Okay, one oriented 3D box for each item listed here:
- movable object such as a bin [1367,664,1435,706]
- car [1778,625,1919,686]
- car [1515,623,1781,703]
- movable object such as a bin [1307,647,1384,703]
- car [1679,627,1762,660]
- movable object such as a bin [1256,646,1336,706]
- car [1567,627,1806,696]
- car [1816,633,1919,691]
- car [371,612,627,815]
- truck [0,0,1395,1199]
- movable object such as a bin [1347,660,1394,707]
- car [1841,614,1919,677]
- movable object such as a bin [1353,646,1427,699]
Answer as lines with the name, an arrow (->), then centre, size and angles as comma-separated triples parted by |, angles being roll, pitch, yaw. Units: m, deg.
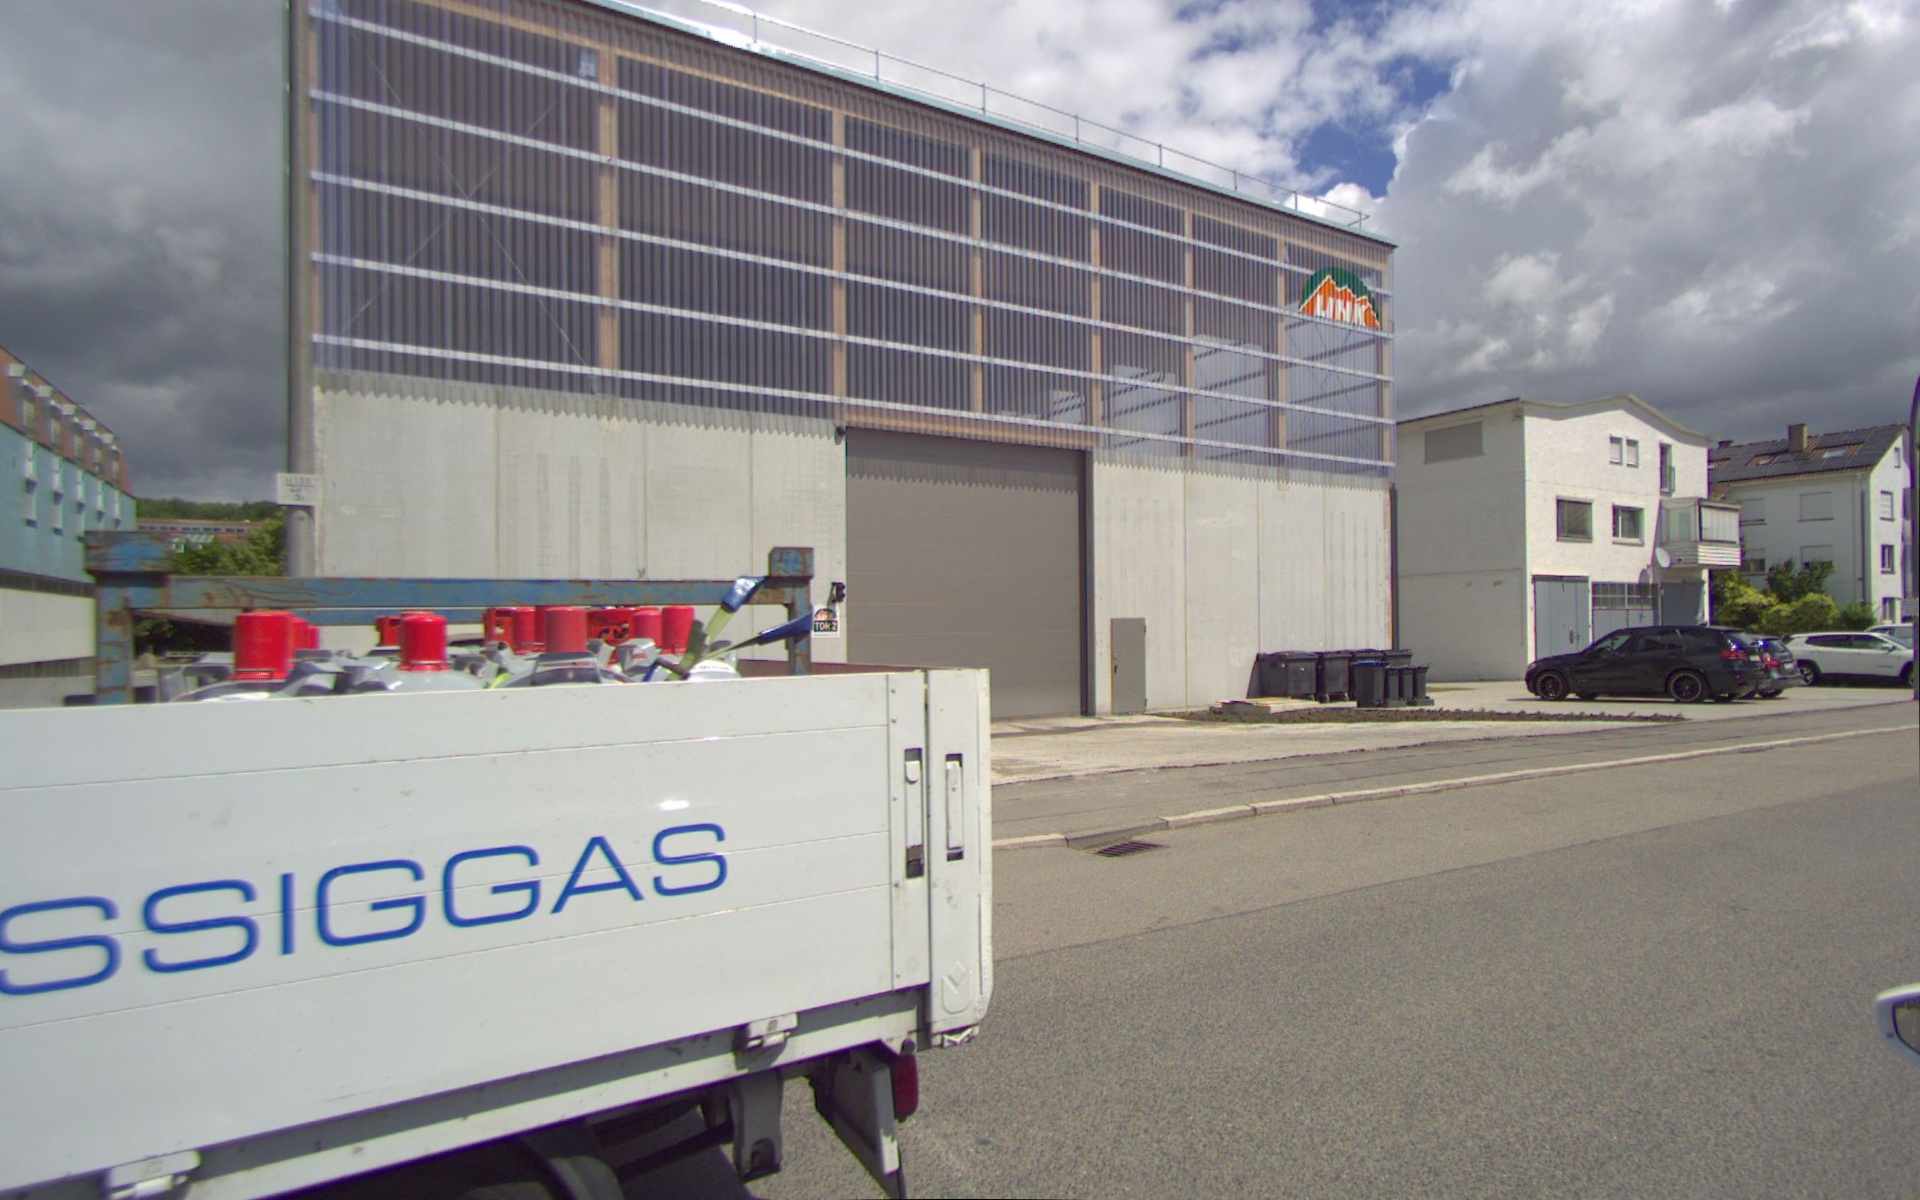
movable object such as a bin -> 10.556, 2.021, 24.049 | 1.500, 0.931, 0.740 | 1, -2, -29
car -> 25.761, 1.556, 27.937 | 1.968, 1.586, 4.260 | 4, -3, -30
car -> 15.898, 1.487, 23.475 | 2.175, 1.654, 4.601 | 0, -4, -33
movable object such as a bin -> 10.116, 1.950, 26.384 | 1.796, 1.374, 0.953 | 1, -2, -29
car -> 38.713, 2.186, 51.115 | 4.329, 1.564, 1.982 | 0, -2, -33
movable object such as a bin -> 8.523, 1.902, 25.486 | 1.796, 1.374, 0.953 | 1, 1, -29
car -> 17.956, 1.556, 25.051 | 1.806, 1.524, 4.436 | 0, -4, -33
car -> 27.666, 1.812, 28.885 | 1.969, 1.586, 4.258 | 4, -4, -31
car -> -4.935, 0.954, 10.415 | 1.806, 1.512, 4.124 | 0, 1, -33
truck -> -2.304, 0.378, 1.855 | 6.370, 2.207, 2.309 | 1, -2, -29
movable object such as a bin -> 9.598, 1.934, 23.499 | 0.703, 1.044, 0.740 | 0, -2, -29
car -> 30.188, 1.426, 30.915 | 1.969, 1.859, 4.258 | 4, -3, -31
movable object such as a bin -> 11.695, 1.942, 27.329 | 1.796, 1.374, 0.953 | 1, -2, -29
